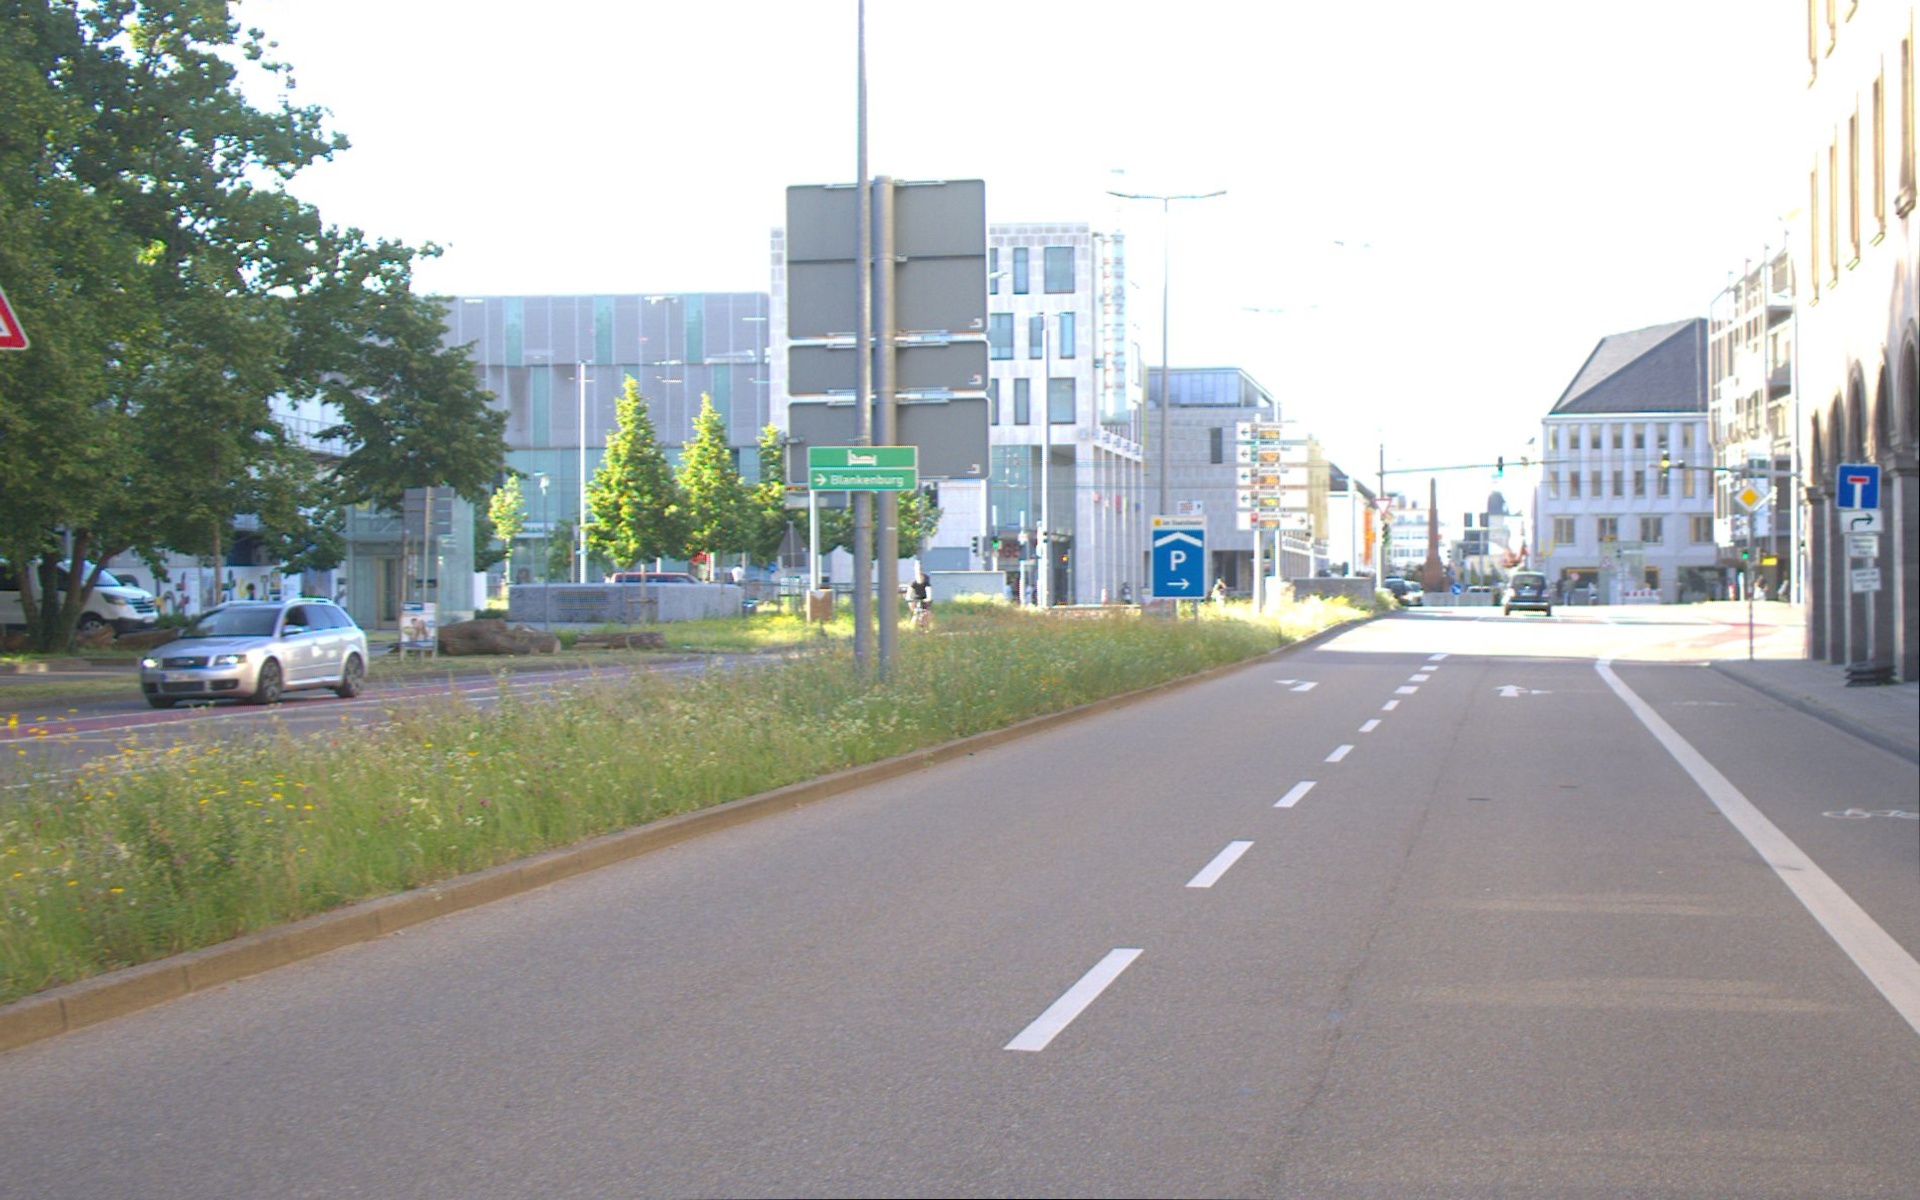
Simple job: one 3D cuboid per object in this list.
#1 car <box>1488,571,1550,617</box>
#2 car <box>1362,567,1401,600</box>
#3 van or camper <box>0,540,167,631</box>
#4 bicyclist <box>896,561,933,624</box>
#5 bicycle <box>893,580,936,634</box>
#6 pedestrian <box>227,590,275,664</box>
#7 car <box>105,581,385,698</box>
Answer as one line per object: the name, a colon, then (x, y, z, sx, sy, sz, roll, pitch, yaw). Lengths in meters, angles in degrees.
car: (19.101, -0.207, 117.589, 1.776, 1.558, 3.789, 0, 0, 4)
car: (23.665, -0.955, 193.099, 1.994, 1.736, 4.644, 0, 2, 9)
van or camper: (-21.589, -0.304, 80.024, 5.665, 2.007, 2.256, -1, -2, 11)
bicyclist: (-1.202, -0.202, 91.534, 0.747, 1.584, 1.202, -1, 4, 9)
bicycle: (-1.201, 0.177, 91.460, 0.758, 1.270, 2.258, 1, 4, 9)
pedestrian: (-14.805, 0.553, 71.804, 0.613, 1.522, 0.942, 0, 1, 15)
car: (-9.776, 0.510, 47.393, 1.934, 1.521, 4.584, 0, 0, 15)
